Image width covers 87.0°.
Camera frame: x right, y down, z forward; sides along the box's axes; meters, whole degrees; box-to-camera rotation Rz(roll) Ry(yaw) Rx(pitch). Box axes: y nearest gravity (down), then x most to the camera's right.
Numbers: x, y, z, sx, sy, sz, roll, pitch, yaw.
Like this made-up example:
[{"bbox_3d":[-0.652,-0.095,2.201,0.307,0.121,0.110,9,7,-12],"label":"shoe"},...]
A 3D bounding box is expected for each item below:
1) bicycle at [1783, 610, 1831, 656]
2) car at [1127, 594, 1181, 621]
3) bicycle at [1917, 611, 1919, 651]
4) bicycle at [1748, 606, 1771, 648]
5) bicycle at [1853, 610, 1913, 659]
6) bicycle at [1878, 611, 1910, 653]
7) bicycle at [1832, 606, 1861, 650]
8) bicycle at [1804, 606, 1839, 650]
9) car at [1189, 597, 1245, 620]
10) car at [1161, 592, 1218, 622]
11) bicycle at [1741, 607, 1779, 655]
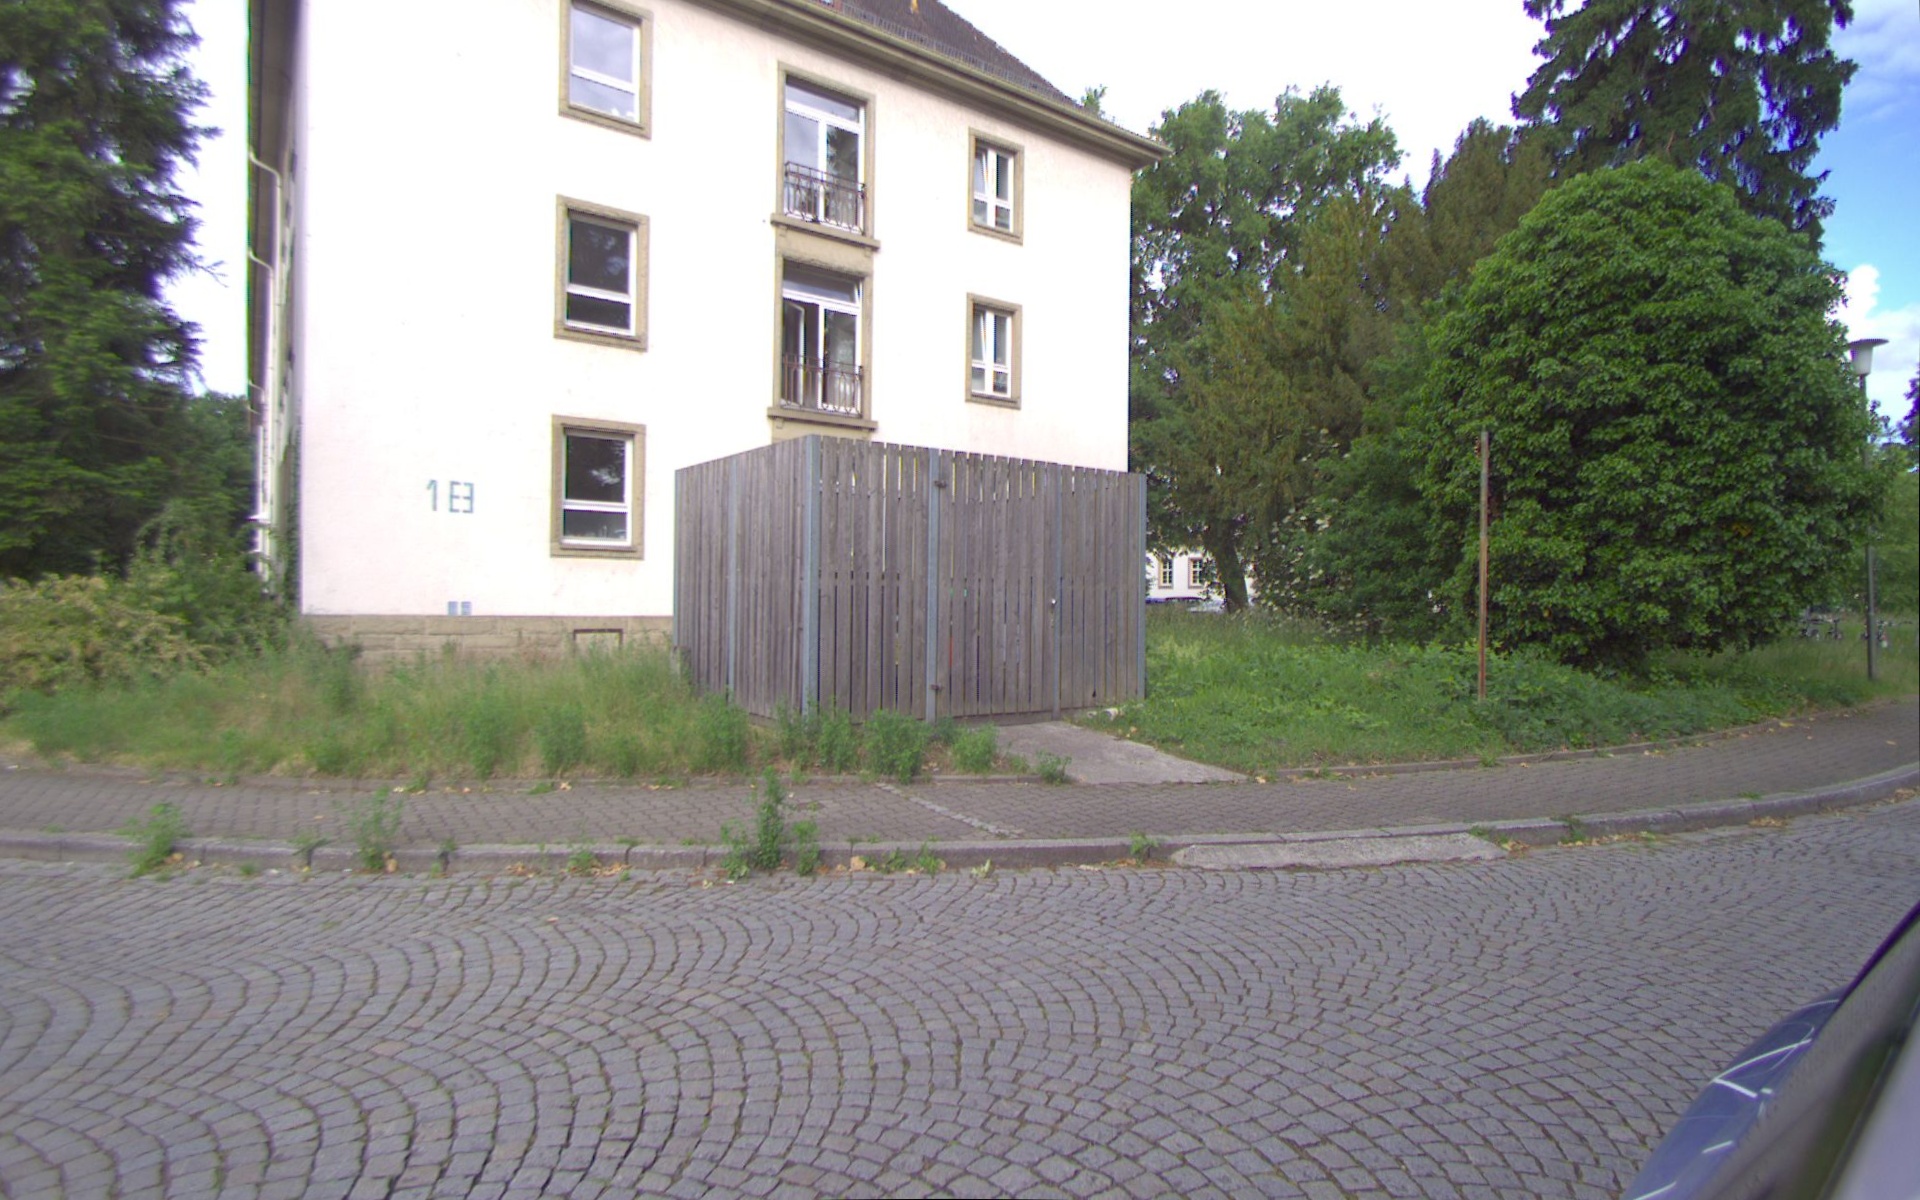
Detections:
[{"bbox_3d":[20.643,0.786,24.680,0.546,1.078,1.737,0,0,28],"label":"bicycle"},{"bbox_3d":[11.644,0.445,60.717,3.188,1.585,1.384,0,0,-36],"label":"car"},{"bbox_3d":[24.954,0.828,25.916,0.475,1.020,1.645,0,1,37],"label":"bicycle"},{"bbox_3d":[22.237,0.725,28.147,0.475,1.126,1.741,0,0,37],"label":"bicycle"},{"bbox_3d":[21.777,0.795,23.905,0.612,1.078,1.807,0,0,28],"label":"bicycle"},{"bbox_3d":[24.440,0.826,26.497,0.475,1.020,1.645,0,1,37],"label":"bicycle"},{"bbox_3d":[23.570,0.733,26.922,0.475,1.126,1.741,0,0,37],"label":"bicycle"},{"bbox_3d":[23.294,0.733,27.383,0.474,1.126,1.745,0,0,32],"label":"bicycle"},{"bbox_3d":[14.158,0.449,55.717,3.188,1.233,1.297,0,0,-36],"label":"car"},{"bbox_3d":[13.112,0.381,57.766,3.188,1.682,1.439,0,0,-36],"label":"car"},{"bbox_3d":[20.511,0.781,25.930,1.725,1.186,0.550,0,0,-44],"label":"bicycle"}]
